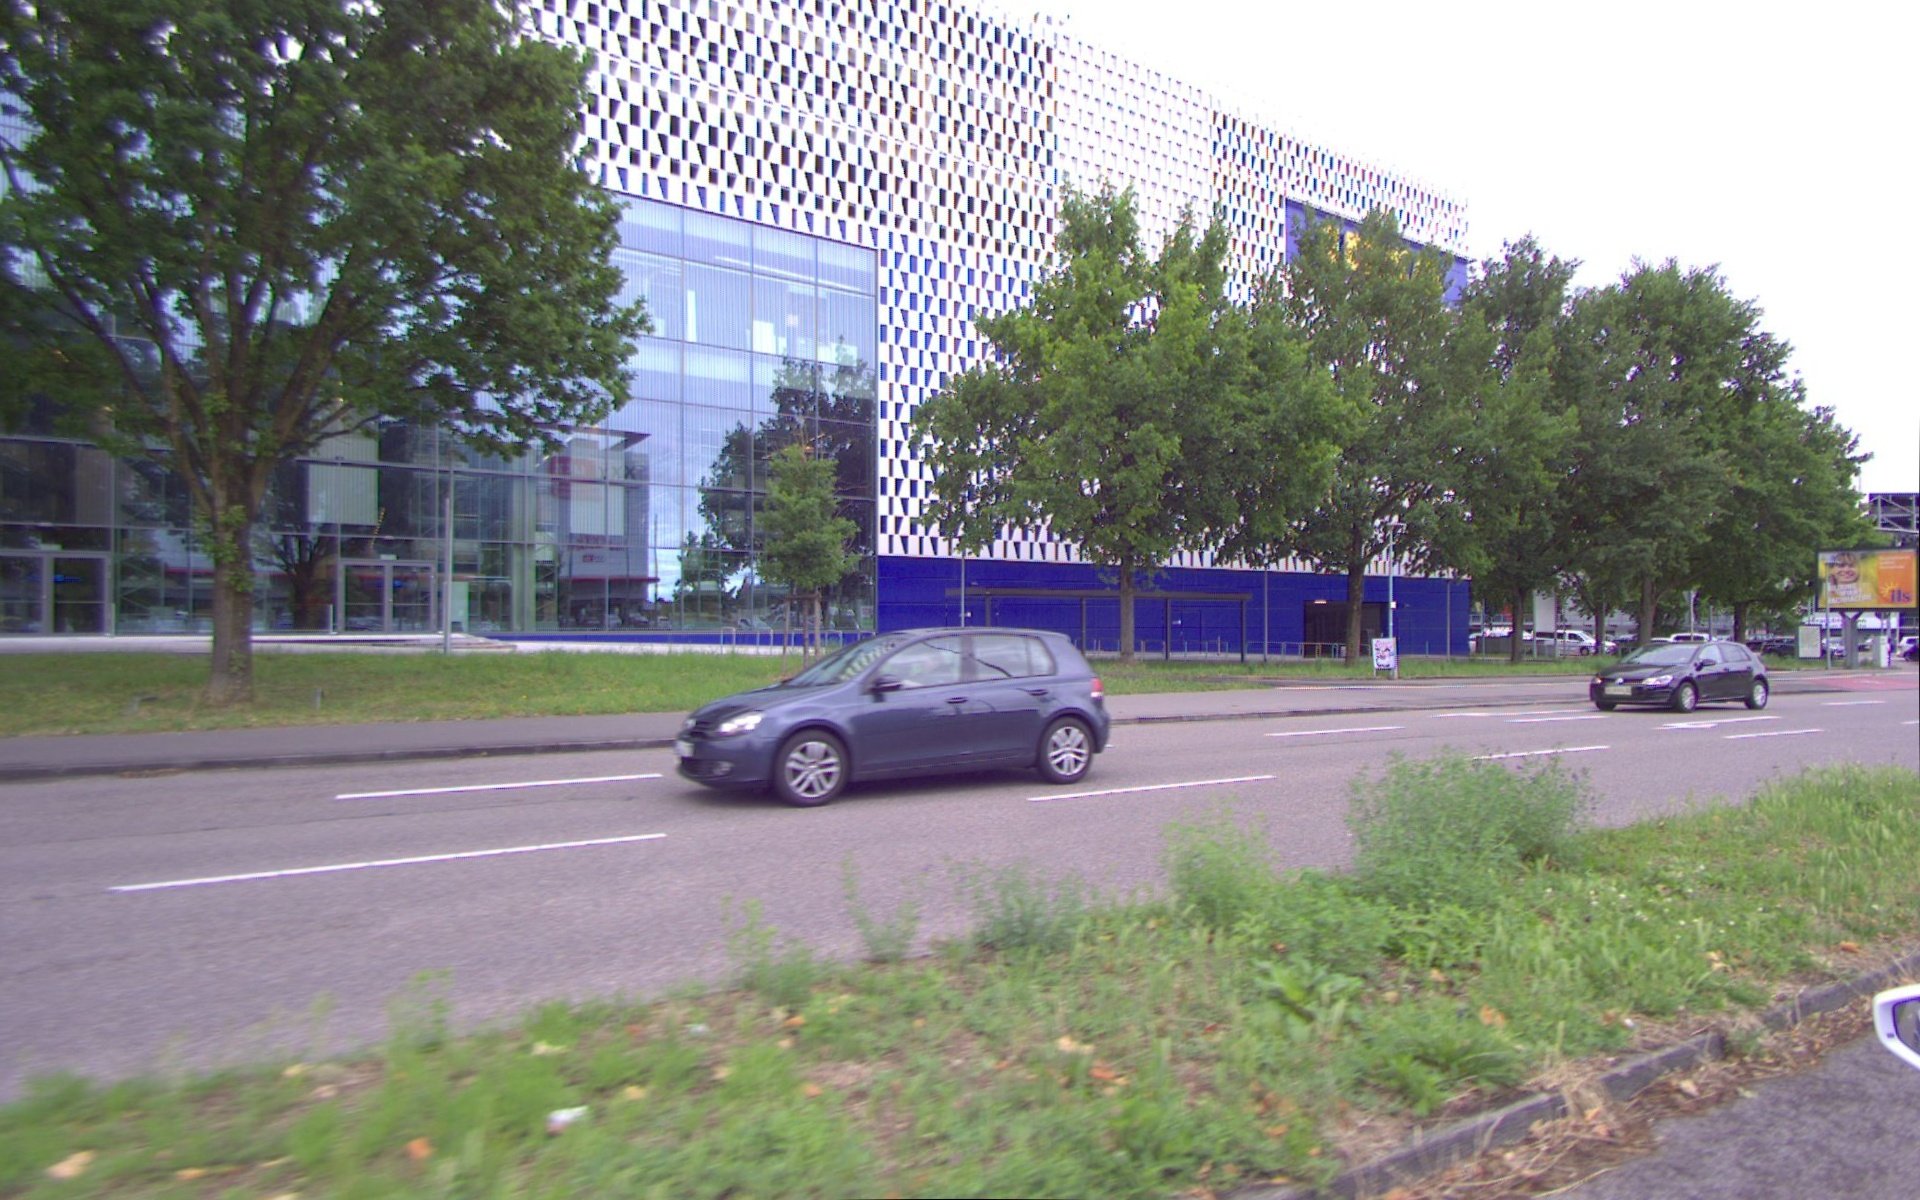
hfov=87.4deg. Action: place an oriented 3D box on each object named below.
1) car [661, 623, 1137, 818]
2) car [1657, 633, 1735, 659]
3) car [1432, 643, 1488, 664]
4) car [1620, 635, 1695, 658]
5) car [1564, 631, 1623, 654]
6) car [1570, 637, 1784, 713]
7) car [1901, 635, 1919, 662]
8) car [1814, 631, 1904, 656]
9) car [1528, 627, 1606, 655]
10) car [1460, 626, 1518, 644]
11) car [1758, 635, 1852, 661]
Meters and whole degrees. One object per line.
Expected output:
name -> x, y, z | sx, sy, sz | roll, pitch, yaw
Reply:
car -> -0.513, 0.994, 9.447 | 4.133, 1.474, 1.772 | 1, -3, -30
car -> 56.066, 3.452, 76.565 | 1.979, 1.734, 4.406 | -3, 1, -34
car -> 44.518, 4.745, 89.509 | 1.827, 1.690, 4.096 | -1, 0, -32
car -> 52.651, 3.492, 75.874 | 1.972, 1.532, 4.204 | 0, -1, -32
car -> 52.364, 3.503, 83.081 | 1.860, 1.770, 3.739 | -1, -1, -33
car -> 15.189, 1.548, 21.276 | 4.126, 1.474, 1.926 | 1, -3, -25
car -> 61.275, 3.041, 61.985 | 1.980, 1.682, 4.387 | 1, -1, -35
car -> 61.114, 2.939, 68.330 | 1.980, 1.529, 4.221 | -1, 0, -35
car -> 49.183, 3.295, 81.501 | 1.859, 1.990, 5.104 | -3, 1, -32
car -> 47.687, 3.171, 90.636 | 1.972, 1.524, 4.204 | 0, -1, -32
car -> 57.347, 3.212, 68.227 | 1.980, 1.681, 4.514 | 1, -2, -35
